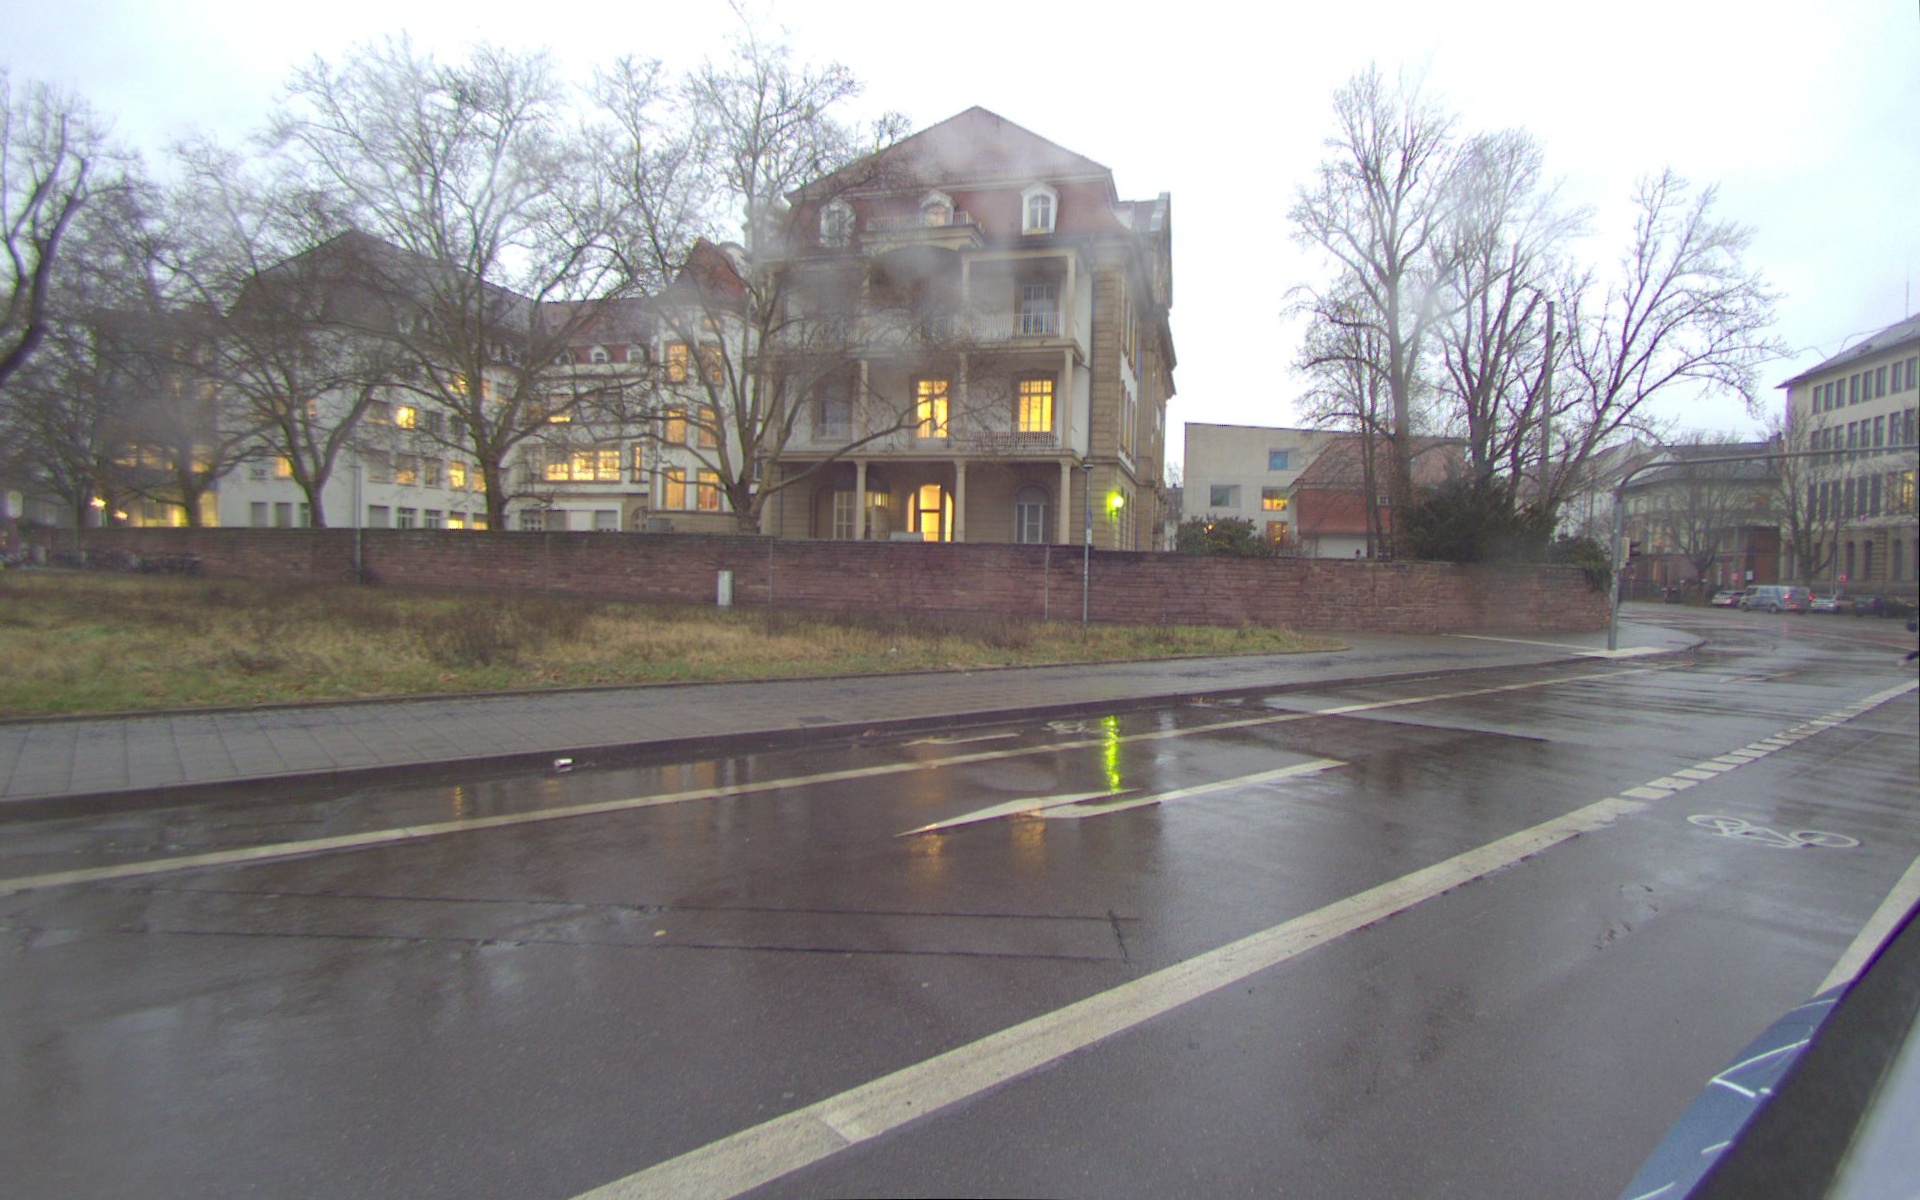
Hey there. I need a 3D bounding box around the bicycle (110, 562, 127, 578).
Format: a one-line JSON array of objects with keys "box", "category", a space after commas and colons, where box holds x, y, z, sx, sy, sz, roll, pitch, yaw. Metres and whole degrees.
[{"box": [-41.472, -1.478, 49.880, 1.599, 0.796, 0.388, 0, 0, 41], "category": "bicycle"}]

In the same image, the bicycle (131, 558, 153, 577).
[{"box": [-38.624, -1.509, 47.772, 1.519, 0.869, 0.389, 0, 0, 33], "category": "bicycle"}]

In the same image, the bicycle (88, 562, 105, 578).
[{"box": [-44.177, -1.531, 51.771, 1.522, 0.796, 0.389, 0, 0, 38], "category": "bicycle"}]

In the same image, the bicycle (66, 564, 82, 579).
[{"box": [-47.894, -1.540, 54.678, 1.522, 0.796, 0.389, 0, 0, 38], "category": "bicycle"}]

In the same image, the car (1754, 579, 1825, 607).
[{"box": [57.989, -0.503, 70.817, 1.850, 1.868, 3.996, 0, 0, 4], "category": "car"}]

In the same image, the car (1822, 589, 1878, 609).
[{"box": [63.603, -0.084, 72.313, 3.568, 1.322, 1.712, -1, 0, -25], "category": "car"}]

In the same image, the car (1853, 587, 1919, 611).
[{"box": [61.964, -0.062, 67.018, 3.927, 1.570, 1.800, 0, 0, 4], "category": "car"}]

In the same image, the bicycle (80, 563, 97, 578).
[{"box": [-45.440, -1.534, 52.745, 1.522, 0.796, 0.389, 0, 0, 38], "category": "bicycle"}]

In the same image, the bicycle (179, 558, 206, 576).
[{"box": [-34.208, -1.470, 45.115, 1.399, 0.796, 0.355, 0, 0, 26], "category": "bicycle"}]

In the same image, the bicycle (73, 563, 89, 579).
[{"box": [-46.671, -1.537, 53.723, 1.522, 0.796, 0.389, 0, 0, 38], "category": "bicycle"}]

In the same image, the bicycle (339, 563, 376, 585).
[{"box": [-23.382, -0.989, 39.277, 1.366, 0.835, 0.392, 0, 0, 14], "category": "bicycle"}]

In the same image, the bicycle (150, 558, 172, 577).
[{"box": [-37.028, -1.499, 46.890, 1.480, 0.849, 0.346, 0, 0, 32], "category": "bicycle"}]

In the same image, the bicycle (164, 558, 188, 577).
[{"box": [-35.548, -1.470, 45.864, 1.519, 0.796, 0.389, 0, 0, 33], "category": "bicycle"}]

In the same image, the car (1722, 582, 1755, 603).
[{"box": [66.480, -0.648, 86.400, 1.992, 1.690, 3.940, 0, 1, 42], "category": "car"}]

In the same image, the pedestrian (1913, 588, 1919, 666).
[{"box": [22.040, 0.622, 22.764, 0.796, 1.744, 0.663, 4, 3, 44], "category": "pedestrian"}]

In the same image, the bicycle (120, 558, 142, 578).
[{"box": [-39.906, -1.541, 48.726, 1.519, 0.928, 0.389, 0, 0, 33], "category": "bicycle"}]

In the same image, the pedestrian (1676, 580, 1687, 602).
[{"box": [68.309, -0.892, 95.830, 0.536, 2.038, 0.475, 2, 2, -6], "category": "pedestrian"}]

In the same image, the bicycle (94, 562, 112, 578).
[{"box": [-43.129, -1.497, 50.900, 1.522, 0.796, 0.389, 0, 0, 38], "category": "bicycle"}]

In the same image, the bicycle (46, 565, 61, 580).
[{"box": [-51.607, -1.549, 57.596, 1.522, 0.796, 0.389, 0, 0, 38], "category": "bicycle"}]
